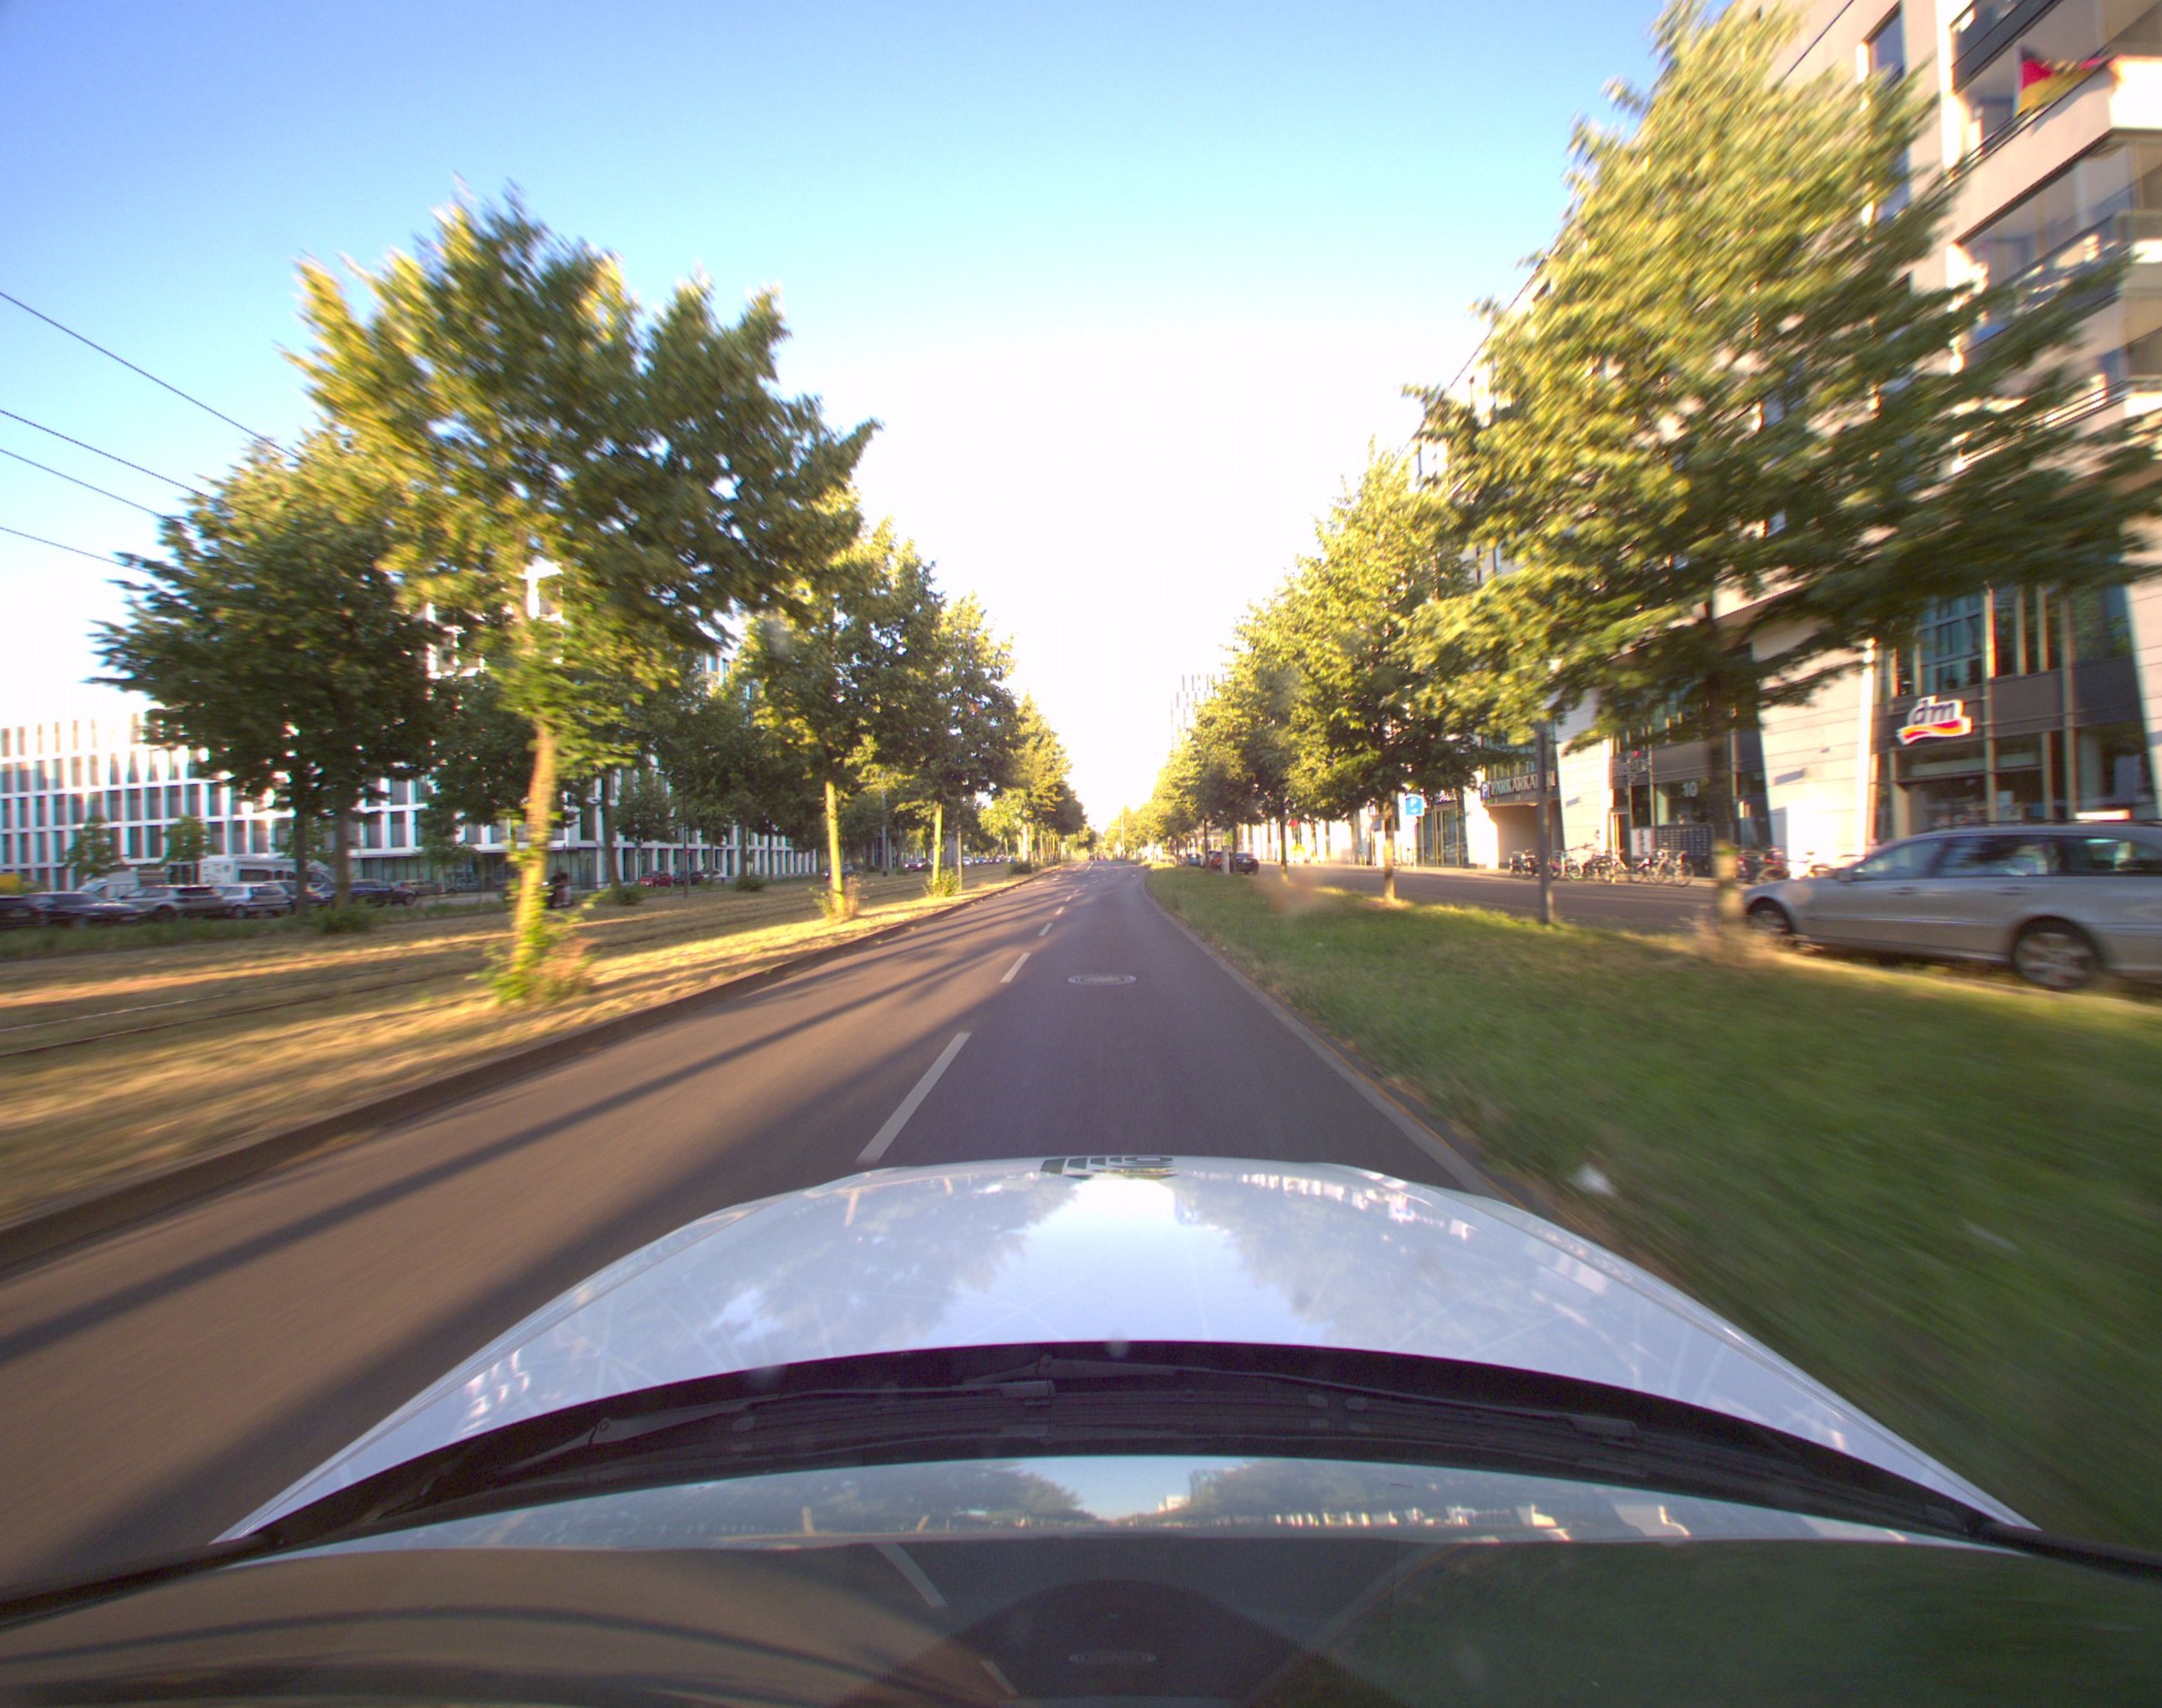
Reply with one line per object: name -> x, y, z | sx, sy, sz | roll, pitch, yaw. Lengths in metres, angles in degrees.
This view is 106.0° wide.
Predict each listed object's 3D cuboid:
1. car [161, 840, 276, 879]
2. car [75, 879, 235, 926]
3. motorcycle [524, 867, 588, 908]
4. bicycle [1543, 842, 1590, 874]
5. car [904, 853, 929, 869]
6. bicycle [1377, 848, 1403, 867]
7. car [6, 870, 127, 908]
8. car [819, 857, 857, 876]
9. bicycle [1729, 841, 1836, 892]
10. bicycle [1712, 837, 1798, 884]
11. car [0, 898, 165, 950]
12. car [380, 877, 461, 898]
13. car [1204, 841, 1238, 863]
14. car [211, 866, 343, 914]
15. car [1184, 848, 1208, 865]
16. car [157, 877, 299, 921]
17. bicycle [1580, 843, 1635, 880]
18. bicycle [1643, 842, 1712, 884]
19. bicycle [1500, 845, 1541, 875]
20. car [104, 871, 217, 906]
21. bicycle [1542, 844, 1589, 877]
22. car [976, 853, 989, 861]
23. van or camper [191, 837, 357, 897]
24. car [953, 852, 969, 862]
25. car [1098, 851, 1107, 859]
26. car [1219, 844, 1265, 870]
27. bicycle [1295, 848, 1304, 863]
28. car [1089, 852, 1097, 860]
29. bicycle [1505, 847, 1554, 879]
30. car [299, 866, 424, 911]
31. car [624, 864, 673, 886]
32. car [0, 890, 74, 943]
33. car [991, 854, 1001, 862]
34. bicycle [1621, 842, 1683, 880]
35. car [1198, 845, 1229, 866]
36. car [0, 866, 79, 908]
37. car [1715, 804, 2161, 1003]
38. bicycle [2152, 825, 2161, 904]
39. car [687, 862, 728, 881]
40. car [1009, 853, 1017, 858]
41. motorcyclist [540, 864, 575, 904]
car -> -47.806, 0.310, 45.256 | 1.986, 2.013, 4.002 | -2, 0, 2
car -> -36.910, 1.913, 32.550 | 3.977, 1.640, 1.920 | -2, 0, -3
motorcycle -> -18.712, 1.173, 29.087 | 0.679, 1.336, 2.345 | -2, 0, 1
bicycle -> 17.218, 0.132, 28.921 | 0.531, 1.061, 1.858 | -3, 0, 2
car -> -17.584, 0.718, 87.250 | 1.879, 1.578, 4.181 | -2, 0, 0
bicycle -> 16.991, 0.176, 44.808 | 0.650, 1.039, 2.056 | -2, 0, 2
car -> -59.524, 2.001, 47.883 | 1.986, 2.013, 4.002 | -2, 0, 2
car -> -20.851, 1.038, 70.038 | 1.911, 1.508, 4.288 | -2, 0, 1
bicycle -> 15.630, 0.269, 18.213 | 0.533, 1.061, 1.850 | -4, 0, -11
bicycle -> 16.193, 0.138, 19.621 | 0.531, 1.061, 1.858 | -4, 0, 2
car -> -36.973, 2.546, 30.073 | 3.977, 1.640, 1.920 | -2, 0, -3
car -> -47.184, 2.366, 58.285 | 1.727, 1.260, 4.268 | -2, 0, 14
car -> 10.093, -0.137, 58.989 | 1.848, 1.529, 4.484 | 0, 0, 1
car -> -37.132, 1.642, 37.700 | 3.977, 2.013, 1.998 | -2, 0, -2
car -> 10.917, 0.210, 77.513 | 1.718, 1.529, 4.269 | 0, 0, 1
car -> -36.745, 1.922, 35.170 | 3.977, 1.640, 1.920 | -2, 0, -3
bicycle -> 16.447, 0.216, 25.488 | 0.531, 1.061, 1.858 | -4, 0, 2
bicycle -> 16.291, 0.234, 22.299 | 0.531, 1.061, 1.858 | -4, 0, 2
bicycle -> 16.699, 0.213, 30.999 | 0.531, 1.061, 1.858 | -4, 0, 2
car -> -53.894, 1.967, 47.815 | 1.907, 1.811, 4.005 | -2, 0, 5
bicycle -> 16.607, 0.210, 27.982 | 0.531, 1.061, 1.858 | -2, 0, 2
car -> -16.595, 0.477, 137.718 | 1.652, 1.332, 4.741 | -2, 0, 0
van or camper -> -44.819, 0.670, 45.547 | 2.697, 3.085, 6.271 | -1, 0, 5
car -> -17.214, 0.423, 117.274 | 1.652, 1.332, 4.529 | -2, 0, 0
car -> 5.459, 0.163, 206.074 | 1.987, 2.013, 4.000 | -1, 0, 0
car -> 10.130, 0.169, 51.576 | 1.938, 1.549, 4.810 | -2, 0, -1
bicycle -> 17.426, 0.096, 65.079 | 0.567, 1.124, 1.840 | -3, 0, 13
car -> 3.287, 0.597, 221.242 | 2.080, 2.013, 4.000 | -1, 0, 0
bicycle -> 15.958, 0.301, 29.016 | 0.533, 1.061, 1.776 | -4, 0, -8
car -> -36.968, 1.703, 42.046 | 1.987, 2.013, 4.932 | -2, 0, 1
car -> -34.123, 1.617, 64.363 | 1.853, 1.581, 3.494 | -1, 0, 2
car -> -37.193, 2.136, 27.414 | 3.977, 1.640, 1.920 | -2, 0, -3
car -> -16.779, 0.762, 161.041 | 1.758, 1.426, 3.544 | -2, 0, -3
bicycle -> 16.935, 0.196, 24.196 | 0.531, 1.061, 1.858 | -4, 0, 2
car -> 10.857, 0.124, 67.202 | 1.943, 1.714, 5.162 | 0, 0, 3
car -> -70.559, 2.195, 53.157 | 1.979, 2.596, 6.116 | -2, 0, 15
car -> 9.062, 0.335, 8.091 | 1.802, 1.501, 4.826 | -1, 0, 1
bicycle -> 16.243, 0.155, 11.248 | 0.536, 1.164, 1.782 | -3, 0, 2
car -> -34.077, 1.597, 74.468 | 1.853, 1.581, 3.786 | -1, 0, 2
car -> -17.363, 0.415, 209.308 | 1.652, 1.332, 4.583 | -1, 0, 0
motorcyclist -> -18.702, 1.047, 29.117 | 0.679, 1.375, 0.804 | -2, 0, 0
